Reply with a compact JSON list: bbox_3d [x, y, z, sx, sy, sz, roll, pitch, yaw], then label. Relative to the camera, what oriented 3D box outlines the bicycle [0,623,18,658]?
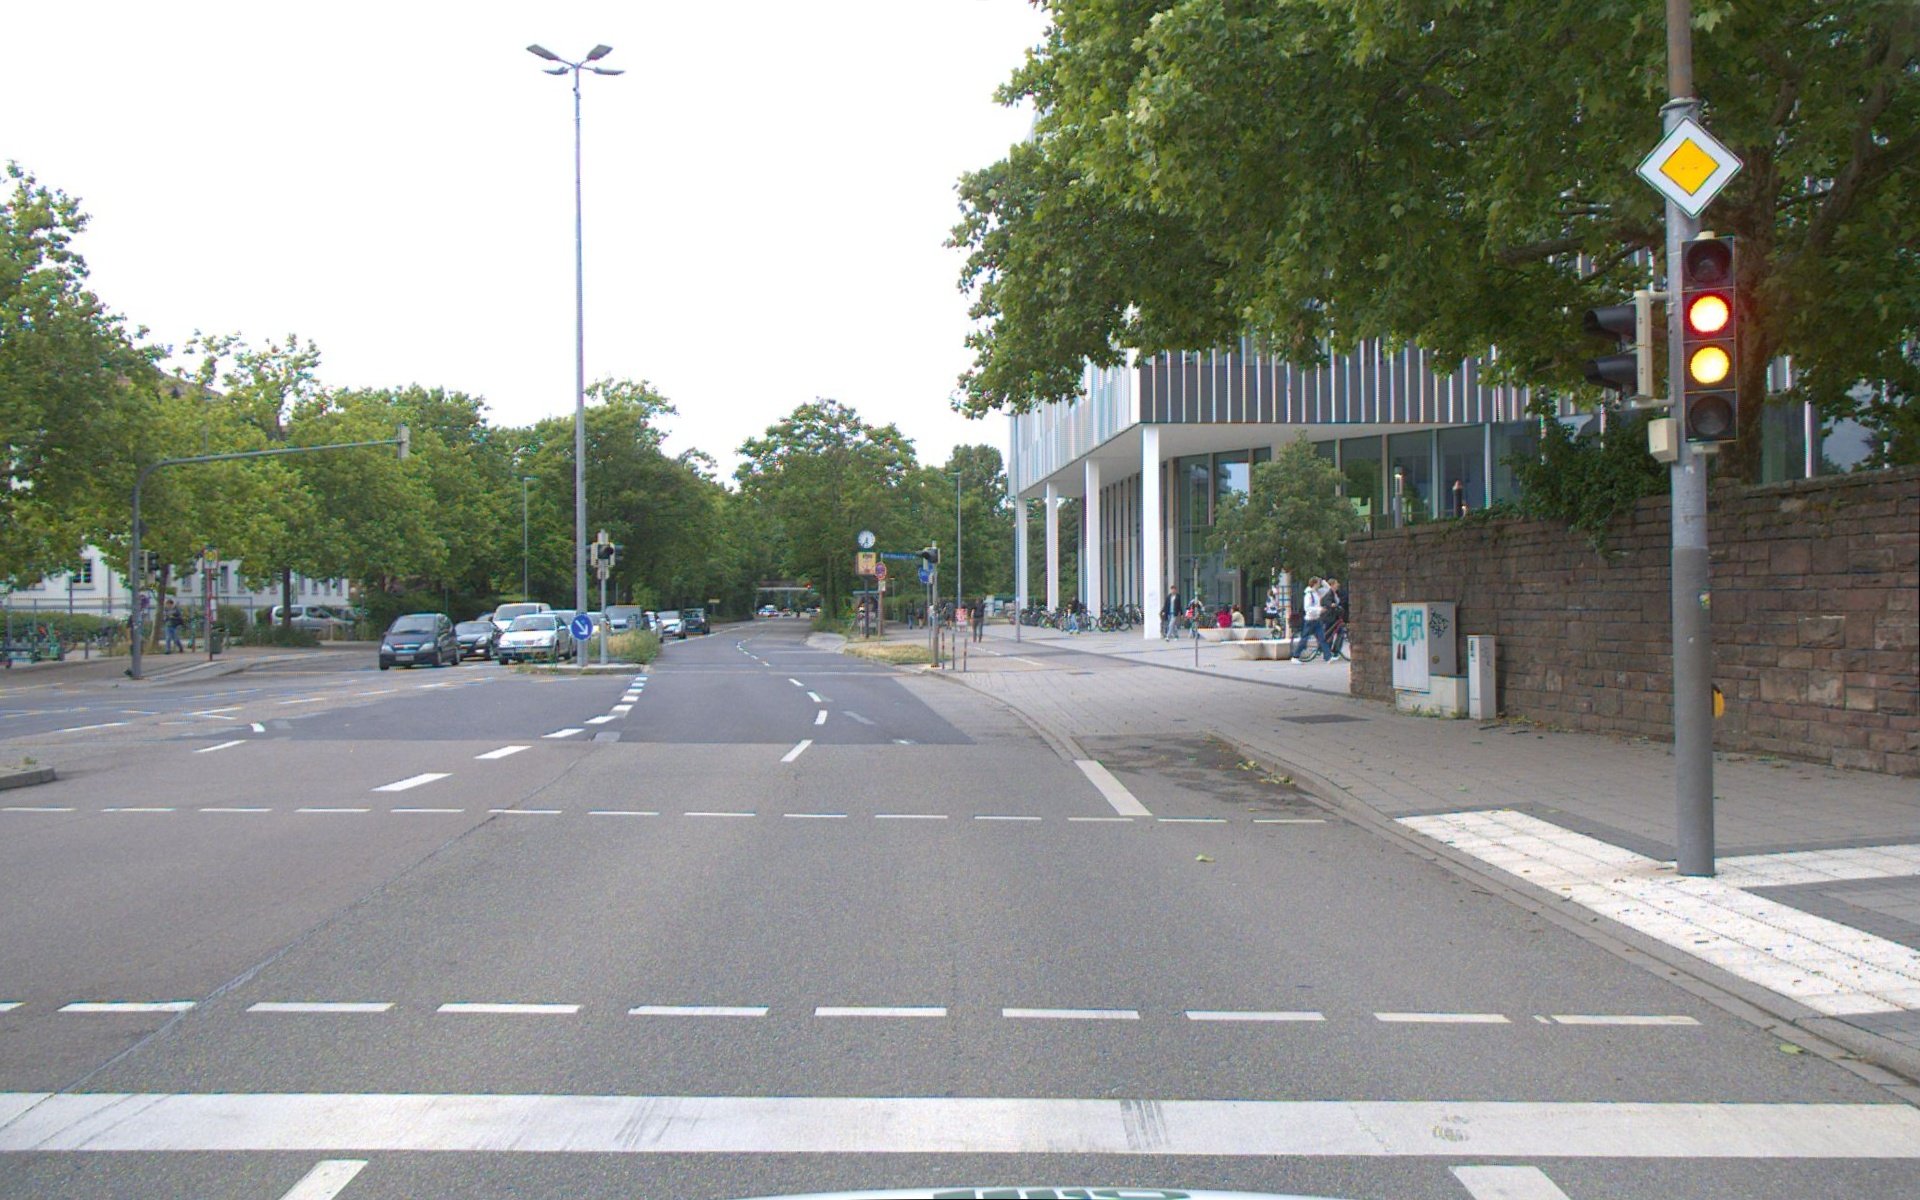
[{"bbox_3d":[-33.168,1.400,56.142,2.002,1.173,0.716,-1,0,-23],"label":"bicycle"}]

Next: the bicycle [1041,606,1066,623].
[{"bbox_3d":[5.106,0.776,90.111,1.258,0.890,0.556,-2,0,-4],"label":"bicycle"}]

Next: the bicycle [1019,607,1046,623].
[{"bbox_3d":[4.453,0.919,102.143,1.575,0.890,0.556,-2,0,-4],"label":"bicycle"}]

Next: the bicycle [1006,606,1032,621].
[{"bbox_3d":[3.752,0.825,104.654,1.575,0.890,0.556,-2,0,-4],"label":"bicycle"}]

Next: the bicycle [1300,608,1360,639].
[{"bbox_3d":[12.744,0.801,56.978,2.166,1.023,0.772,-1,0,-35],"label":"bicycle"}]

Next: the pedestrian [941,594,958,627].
[{"bbox_3d":[-0.649,0.659,103.843,0.907,2.049,1.038,-1,0,-6],"label":"pedestrian"}]

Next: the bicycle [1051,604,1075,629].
[{"bbox_3d":[4.960,0.777,79.529,0.624,1.160,2.196,-4,0,-9],"label":"bicycle"}]

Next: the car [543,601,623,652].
[{"bbox_3d":[-13.289,0.899,58.470,1.918,1.611,4.254,-2,1,-2],"label":"car"}]

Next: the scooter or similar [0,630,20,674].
[{"bbox_3d":[-25.373,1.374,43.734,0.353,1.160,1.318,-1,0,-4],"label":"scooter or similar"}]

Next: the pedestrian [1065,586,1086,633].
[{"bbox_3d":[5.105,0.418,73.081,0.872,2.049,0.846,-1,0,5],"label":"pedestrian"}]

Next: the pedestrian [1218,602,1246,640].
[{"bbox_3d":[9.033,0.690,54.891,0.872,1.214,0.846,-1,0,9],"label":"pedestrian"}]

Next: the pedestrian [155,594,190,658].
[{"bbox_3d":[-25.642,0.838,53.887,0.787,2.049,0.923,1,-1,-11],"label":"pedestrian"}]

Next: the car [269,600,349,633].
[{"bbox_3d":[-33.677,0.843,85.595,3.517,1.630,1.649,1,0,-7],"label":"car"}]

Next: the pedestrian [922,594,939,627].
[{"bbox_3d":[-1.880,0.663,103.823,0.908,2.049,1.037,-1,0,-9],"label":"pedestrian"}]

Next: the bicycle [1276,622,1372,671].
[{"bbox_3d":[8.037,1.015,36.552,1.933,1.036,0.794,1,0,31],"label":"bicycle"}]

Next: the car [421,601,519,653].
[{"bbox_3d":[-16.263,0.870,55.128,1.952,1.648,4.001,-1,0,2],"label":"car"}]

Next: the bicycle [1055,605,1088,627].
[{"bbox_3d":[5.640,0.812,83.757,1.575,0.999,0.556,-4,0,-5],"label":"bicycle"}]

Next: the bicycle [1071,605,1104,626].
[{"bbox_3d":[6.347,0.778,82.408,1.572,0.952,0.569,-3,0,6],"label":"bicycle"}]

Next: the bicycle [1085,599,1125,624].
[{"bbox_3d":[7.486,0.599,85.589,1.948,1.164,0.646,-3,0,37],"label":"bicycle"}]

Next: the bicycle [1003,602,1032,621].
[{"bbox_3d":[3.729,0.739,106.654,1.760,1.100,0.625,-3,0,-7],"label":"bicycle"}]

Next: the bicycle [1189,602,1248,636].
[{"bbox_3d":[9.574,0.694,61.265,0.761,1.208,2.702,-1,0,43],"label":"bicycle"}]

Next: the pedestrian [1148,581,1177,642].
[{"bbox_3d":[6.890,0.375,56.251,0.826,2.049,0.894,-1,0,-3],"label":"pedestrian"}]

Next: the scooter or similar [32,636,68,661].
[{"bbox_3d":[-27.227,1.459,49.503,0.398,0.706,1.288,1,0,-2],"label":"scooter or similar"}]

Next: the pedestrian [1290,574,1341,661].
[{"bbox_3d":[7.581,0.368,35.299,0.768,1.827,0.786,-1,-1,38],"label":"pedestrian"}]

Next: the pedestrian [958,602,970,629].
[{"bbox_3d":[0.258,0.994,104.363,0.714,1.713,0.747,1,-1,-1],"label":"pedestrian"}]

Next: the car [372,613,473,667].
[{"bbox_3d":[-15.834,1.153,48.894,1.815,1.489,3.696,-1,0,-1],"label":"car"}]

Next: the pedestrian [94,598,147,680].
[{"bbox_3d":[-21.527,0.985,42.429,0.877,2.049,1.008,-1,0,-7],"label":"pedestrian"}]

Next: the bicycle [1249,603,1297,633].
[{"bbox_3d":[11.248,0.656,59.464,0.761,1.019,1.947,-1,0,43],"label":"bicycle"}]

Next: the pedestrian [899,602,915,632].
[{"bbox_3d":[-3.629,1.146,112.580,0.908,2.049,1.037,-1,0,-9],"label":"pedestrian"}]

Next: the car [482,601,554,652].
[{"bbox_3d":[-17.144,1.001,64.326,1.736,1.880,4.486,1,0,-3],"label":"car"}]

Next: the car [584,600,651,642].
[{"bbox_3d":[-14.675,0.873,71.100,1.953,1.717,4.946,1,0,-2],"label":"car"}]

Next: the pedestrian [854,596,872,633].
[{"bbox_3d":[-5.559,0.809,94.658,0.895,2.048,0.853,-3,2,-6],"label":"pedestrian"}]

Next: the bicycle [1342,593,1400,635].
[{"bbox_3d":[13.939,0.469,56.081,1.978,1.328,0.640,-3,2,-27],"label":"bicycle"}]

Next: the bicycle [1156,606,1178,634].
[{"bbox_3d":[8.093,0.772,64.695,0.625,1.080,1.840,1,0,0],"label":"bicycle"}]

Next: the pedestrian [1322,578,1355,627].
[{"bbox_3d":[16.336,0.118,71.425,1.158,2.098,1.135,1,-1,24],"label":"pedestrian"}]

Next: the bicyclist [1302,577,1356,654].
[{"bbox_3d":[8.141,0.336,36.469,0.950,1.674,0.733,1,-1,35],"label":"bicyclist"}]

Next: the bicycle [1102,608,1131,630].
[{"bbox_3d":[7.103,0.868,75.046,1.477,0.945,0.433,-2,2,-44],"label":"bicycle"}]

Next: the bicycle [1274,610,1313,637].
[{"bbox_3d":[11.880,0.844,58.848,0.659,0.914,1.839,-1,0,36],"label":"bicycle"}]

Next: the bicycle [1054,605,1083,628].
[{"bbox_3d":[5.461,0.822,83.171,1.373,1.062,0.558,-3,0,-4],"label":"bicycle"}]

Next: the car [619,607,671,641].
[{"bbox_3d":[-14.829,1.110,78.141,1.866,1.491,4.906,1,0,-5],"label":"car"}]

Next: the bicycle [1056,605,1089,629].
[{"bbox_3d":[5.796,0.863,85.357,1.610,1.110,0.572,-4,0,4],"label":"bicycle"}]

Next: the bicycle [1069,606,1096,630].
[{"bbox_3d":[5.671,0.826,76.778,0.598,1.099,1.954,-3,0,-16],"label":"bicycle"}]

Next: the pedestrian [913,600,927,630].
[{"bbox_3d":[-2.723,1.023,112.306,0.809,2.049,0.719,-1,0,-9],"label":"pedestrian"}]

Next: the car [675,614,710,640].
[{"bbox_3d":[-17.398,1.744,107.871,1.866,1.621,4.512,-1,0,-5],"label":"car"}]

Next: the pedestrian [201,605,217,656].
[{"bbox_3d":[-26.379,1.059,58.105,0.412,1.769,0.433,1,-1,-11],"label":"pedestrian"}]

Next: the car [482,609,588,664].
[{"bbox_3d":[-12.791,1.067,50.017,1.952,1.556,4.275,-1,0,2],"label":"car"}]

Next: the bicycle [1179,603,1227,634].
[{"bbox_3d":[9.202,0.701,62.638,0.723,1.135,2.170,-1,0,42],"label":"bicycle"}]

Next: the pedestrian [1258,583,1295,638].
[{"bbox_3d":[10.819,0.363,56.487,0.837,1.868,0.881,-1,-1,-40],"label":"pedestrian"}]

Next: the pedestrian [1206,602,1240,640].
[{"bbox_3d":[8.642,0.677,54.258,0.826,1.227,0.893,-1,0,29],"label":"pedestrian"}]

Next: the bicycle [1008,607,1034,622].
[{"bbox_3d":[3.843,0.902,103.700,1.575,0.890,0.556,-2,0,-4],"label":"bicycle"}]

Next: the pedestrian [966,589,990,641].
[{"bbox_3d":[0.725,0.588,66.475,0.826,2.049,0.894,-3,0,-3],"label":"pedestrian"}]

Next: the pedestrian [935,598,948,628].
[{"bbox_3d":[-1.286,0.899,113.115,0.808,2.049,0.719,-1,0,-6],"label":"pedestrian"}]

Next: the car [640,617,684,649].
[{"bbox_3d":[-16.307,1.793,90.641,1.955,1.574,4.175,-2,0,-5],"label":"car"}]
